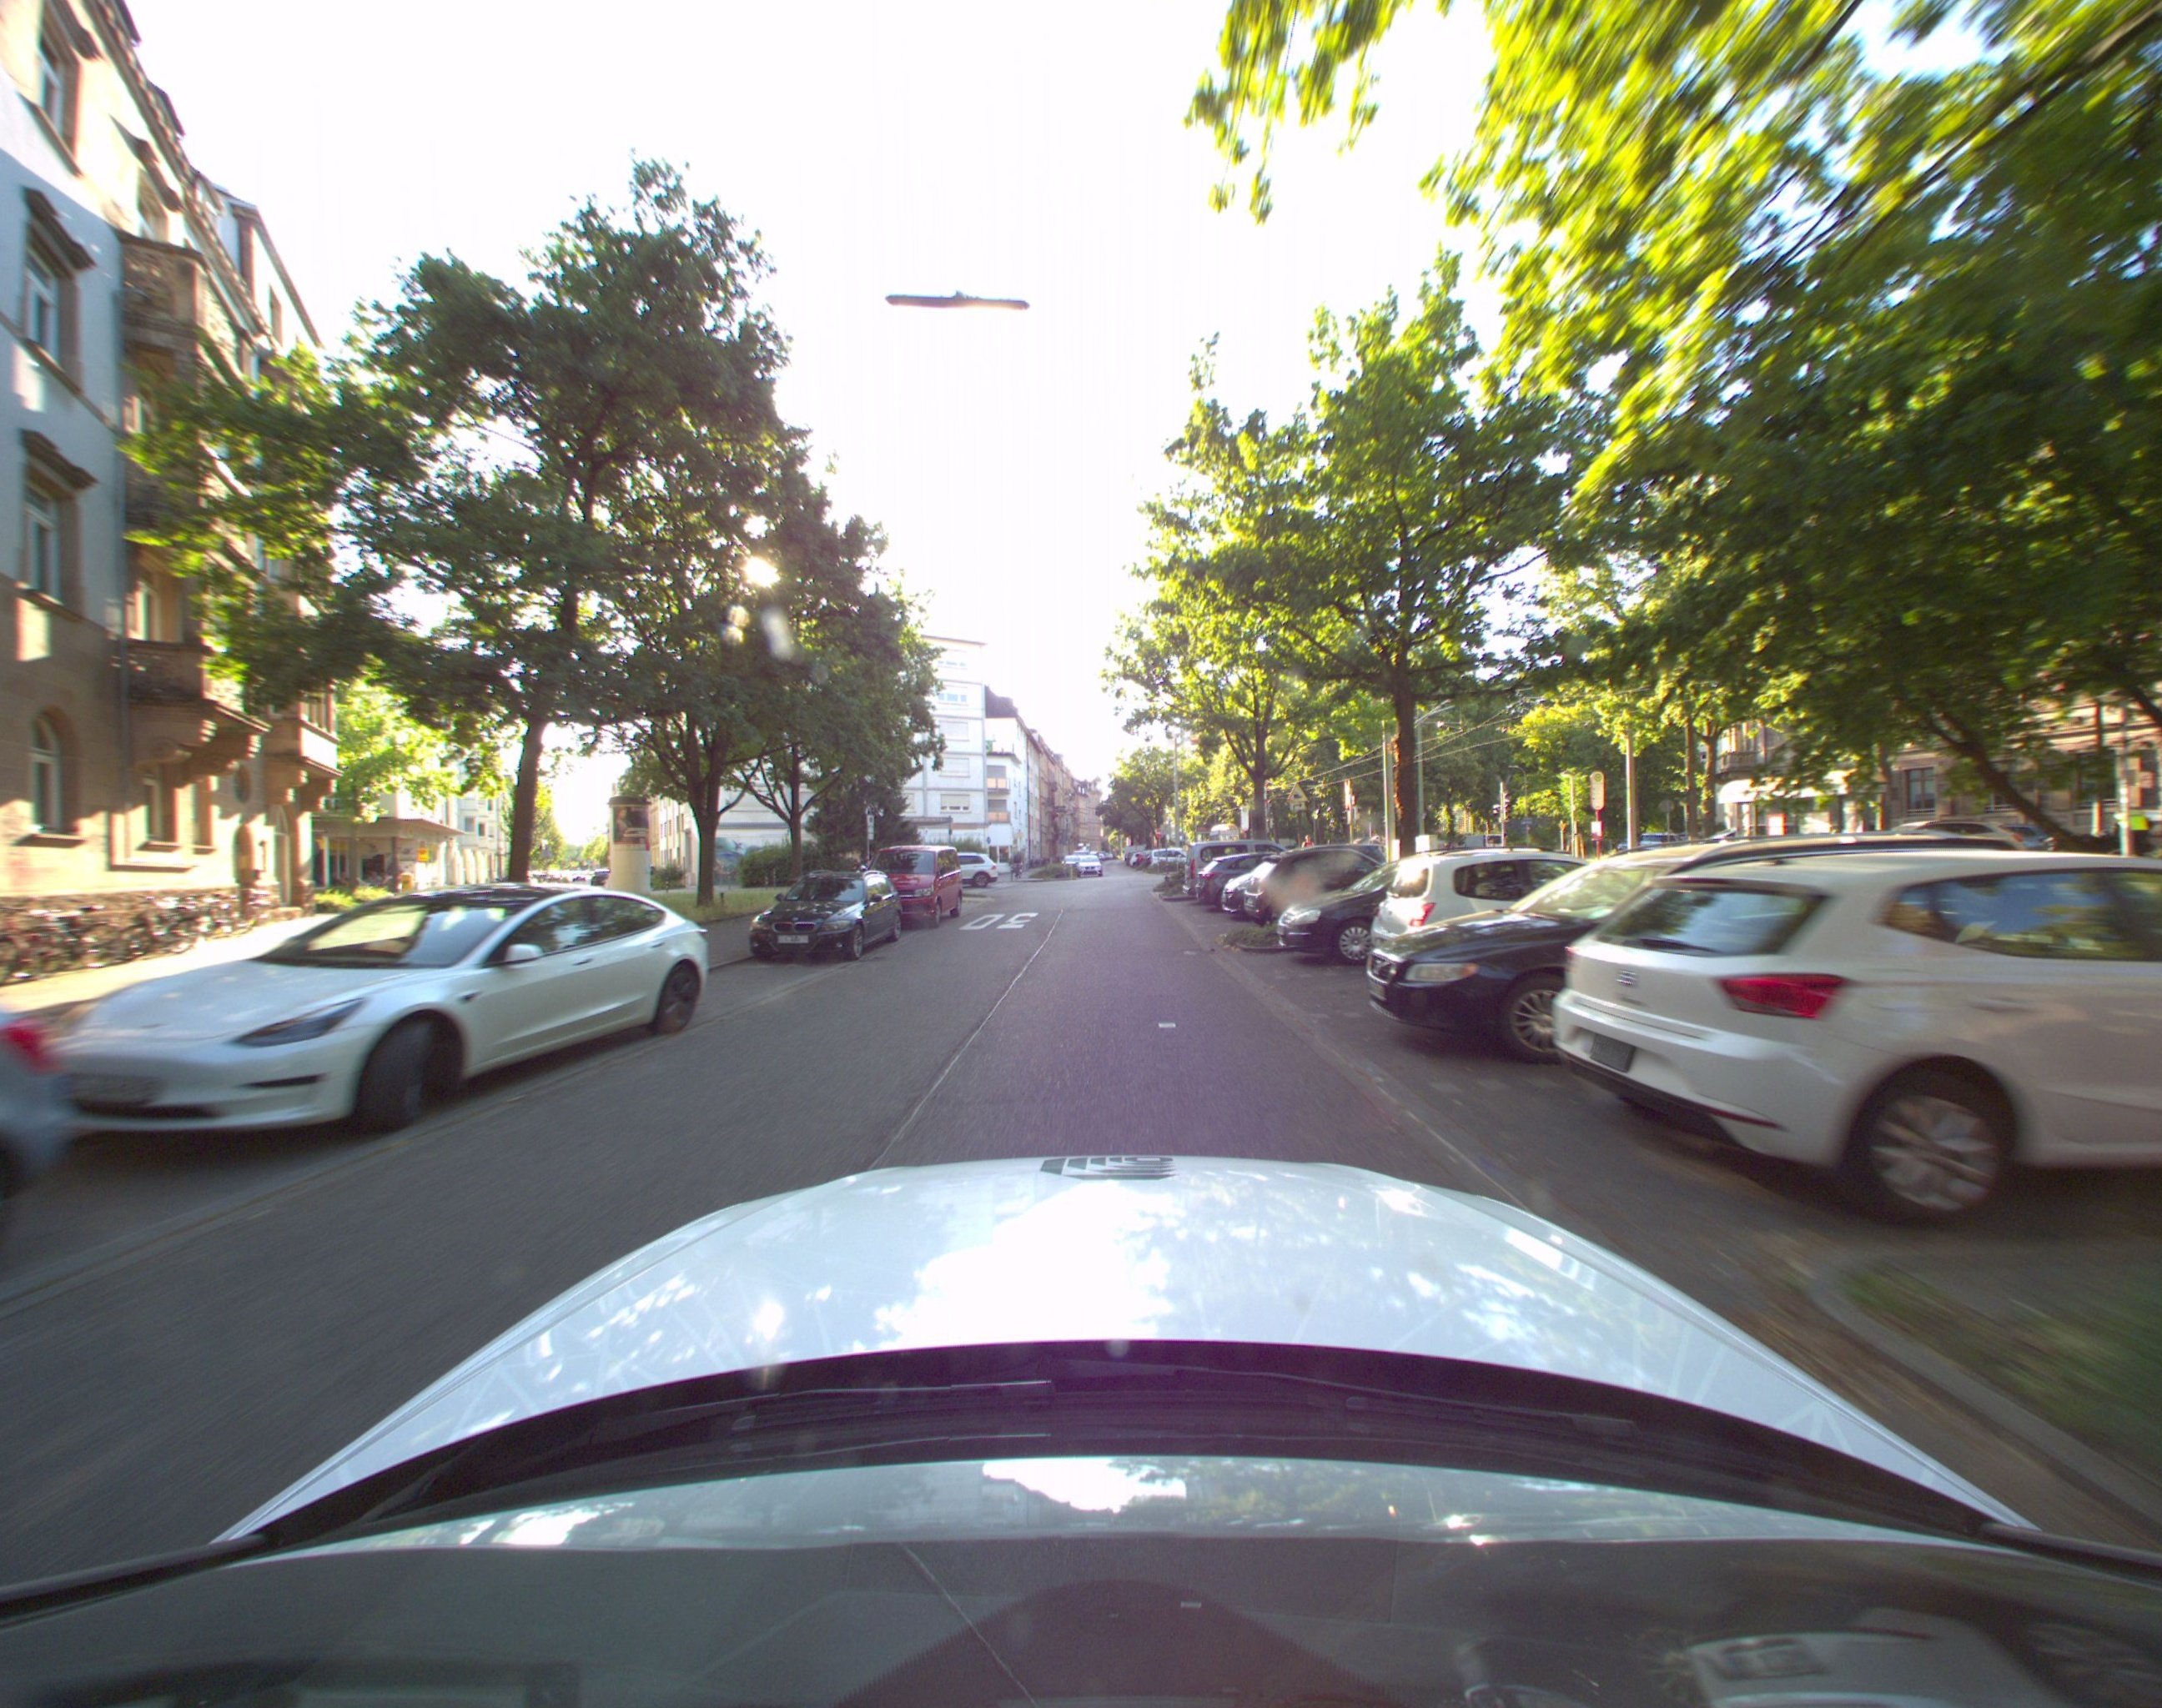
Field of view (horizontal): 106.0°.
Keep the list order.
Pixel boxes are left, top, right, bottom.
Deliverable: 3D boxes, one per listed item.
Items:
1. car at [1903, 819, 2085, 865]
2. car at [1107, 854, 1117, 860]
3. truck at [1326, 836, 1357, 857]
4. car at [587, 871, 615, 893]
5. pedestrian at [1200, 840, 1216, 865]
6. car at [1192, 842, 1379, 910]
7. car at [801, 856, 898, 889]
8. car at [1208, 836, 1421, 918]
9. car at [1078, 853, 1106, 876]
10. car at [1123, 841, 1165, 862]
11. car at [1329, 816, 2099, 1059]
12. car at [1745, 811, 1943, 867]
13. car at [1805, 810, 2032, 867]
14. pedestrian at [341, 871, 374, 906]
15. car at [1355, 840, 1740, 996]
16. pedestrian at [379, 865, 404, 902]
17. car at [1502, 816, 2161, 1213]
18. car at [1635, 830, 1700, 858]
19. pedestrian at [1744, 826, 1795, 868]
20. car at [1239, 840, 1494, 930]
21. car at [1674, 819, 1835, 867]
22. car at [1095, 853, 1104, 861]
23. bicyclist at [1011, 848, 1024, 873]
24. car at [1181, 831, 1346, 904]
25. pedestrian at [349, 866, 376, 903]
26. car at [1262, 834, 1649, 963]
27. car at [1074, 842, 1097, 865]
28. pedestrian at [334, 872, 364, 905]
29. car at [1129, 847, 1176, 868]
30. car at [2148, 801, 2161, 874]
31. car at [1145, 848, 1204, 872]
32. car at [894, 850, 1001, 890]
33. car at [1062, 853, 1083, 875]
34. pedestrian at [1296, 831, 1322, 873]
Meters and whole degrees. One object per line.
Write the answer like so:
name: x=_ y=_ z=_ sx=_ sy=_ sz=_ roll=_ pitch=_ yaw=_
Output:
car: x=32.527 y=-0.395 z=29.200 sx=1.734 sy=1.489 sz=4.156 roll=1 pitch=0 yaw=-5
car: x=7.742 y=0.759 z=201.895 sx=1.700 sy=1.446 sz=4.012 roll=-3 pitch=0 yaw=10
truck: x=30.832 y=-0.834 z=96.363 sx=2.357 sy=2.352 sz=4.386 roll=-2 pitch=0 yaw=2
car: x=-42.018 y=2.452 z=71.317 sx=2.006 sy=1.784 sz=3.961 roll=-2 pitch=0 yaw=-30
pedestrian: x=9.650 y=-0.115 z=61.741 sx=0.840 sy=1.910 sz=0.843 roll=-2 pitch=0 yaw=35
car: x=5.293 y=0.577 z=21.617 sx=4.518 sy=1.572 sz=1.952 roll=-2 pitch=-1 yaw=3
car: x=-11.695 y=0.918 z=41.374 sx=4.262 sy=1.450 sz=1.926 roll=-2 pitch=1 yaw=4
car: x=5.435 y=0.522 z=19.305 sx=4.427 sy=1.691 sz=1.947 roll=-2 pitch=-1 yaw=-4
car: x=0.729 y=0.720 z=56.442 sx=1.707 sy=1.446 sz=3.996 roll=-3 pitch=0 yaw=-3
car: x=9.062 y=-0.356 z=117.087 sx=5.201 sy=2.571 sz=2.288 roll=-6 pitch=-1 yaw=30
car: x=4.688 y=0.617 z=6.730 sx=4.680 sy=1.572 sz=2.002 roll=-2 pitch=-1 yaw=3
car: x=25.935 y=-0.482 z=27.902 sx=4.497 sy=1.634 sz=1.940 roll=-3 pitch=0 yaw=23
car: x=25.889 y=-0.470 z=25.412 sx=4.497 sy=1.487 sz=1.940 roll=-3 pitch=0 yaw=23
pedestrian: x=-35.285 y=1.665 z=39.732 sx=0.967 sy=1.666 sz=1.203 roll=-2 pitch=0 yaw=-32
car: x=5.106 y=0.667 z=9.307 sx=3.383 sy=1.514 sz=1.721 roll=-2 pitch=0 yaw=3
pedestrian: x=-35.827 y=1.542 z=42.315 sx=0.855 sy=1.875 sz=0.882 roll=-2 pitch=0 yaw=-33
car: x=4.527 y=0.598 z=4.026 sx=3.972 sy=1.460 sz=1.685 roll=-3 pitch=0 yaw=2
car: x=36.545 y=-0.665 z=50.722 sx=4.202 sy=1.656 sz=1.903 roll=-1 pitch=3 yaw=-33
pedestrian: x=21.664 y=-0.225 z=25.649 sx=0.821 sy=1.272 sz=0.875 roll=-2 pitch=0 yaw=-6
car: x=5.660 y=0.615 z=16.637 sx=4.518 sy=1.572 sz=1.952 roll=-2 pitch=-1 yaw=3
car: x=25.402 y=-0.389 z=30.881 sx=4.368 sy=1.687 sz=1.751 roll=-1 pitch=0 yaw=20
car: x=3.918 y=0.617 z=173.135 sx=1.703 sy=1.446 sz=4.005 roll=-3 pitch=0 yaw=5
bicyclist: x=-4.224 y=0.428 z=54.290 sx=0.709 sy=1.617 sz=0.724 roll=-2 pitch=0 yaw=2
car: x=5.332 y=0.404 z=24.297 sx=4.518 sy=1.914 sz=1.952 roll=-2 pitch=-1 yaw=3
pedestrian: x=-36.710 y=1.545 z=41.607 sx=0.855 sy=1.875 sz=0.882 roll=-2 pitch=0 yaw=-33
car: x=5.183 y=0.616 z=11.855 sx=4.680 sy=1.572 sz=2.002 roll=-2 pitch=-1 yaw=3
car: x=0.615 y=-0.097 z=110.742 sx=2.541 sy=2.887 sz=5.488 roll=-3 pitch=0 yaw=4
pedestrian: x=-36.331 y=1.712 z=40.431 sx=0.894 sy=1.569 sz=0.954 roll=-2 pitch=0 yaw=-31
car: x=7.159 y=0.359 z=81.298 sx=4.186 sy=1.651 sz=1.870 roll=-6 pitch=-1 yaw=38
car: x=27.110 y=-0.470 z=17.578 sx=4.493 sy=1.721 sz=1.942 roll=-3 pitch=0 yaw=32
car: x=7.387 y=0.442 z=64.350 sx=4.153 sy=1.436 sz=1.711 roll=-6 pitch=-1 yaw=26
car: x=-6.243 y=0.743 z=38.207 sx=4.544 sy=1.647 sz=1.925 roll=-2 pitch=0 yaw=-27
car: x=-0.708 y=0.819 z=69.525 sx=1.705 sy=1.673 sz=3.999 roll=-3 pitch=0 yaw=0
pedestrian: x=10.812 y=-0.095 z=38.722 sx=0.899 sy=1.918 sz=1.151 roll=-2 pitch=0 yaw=2
